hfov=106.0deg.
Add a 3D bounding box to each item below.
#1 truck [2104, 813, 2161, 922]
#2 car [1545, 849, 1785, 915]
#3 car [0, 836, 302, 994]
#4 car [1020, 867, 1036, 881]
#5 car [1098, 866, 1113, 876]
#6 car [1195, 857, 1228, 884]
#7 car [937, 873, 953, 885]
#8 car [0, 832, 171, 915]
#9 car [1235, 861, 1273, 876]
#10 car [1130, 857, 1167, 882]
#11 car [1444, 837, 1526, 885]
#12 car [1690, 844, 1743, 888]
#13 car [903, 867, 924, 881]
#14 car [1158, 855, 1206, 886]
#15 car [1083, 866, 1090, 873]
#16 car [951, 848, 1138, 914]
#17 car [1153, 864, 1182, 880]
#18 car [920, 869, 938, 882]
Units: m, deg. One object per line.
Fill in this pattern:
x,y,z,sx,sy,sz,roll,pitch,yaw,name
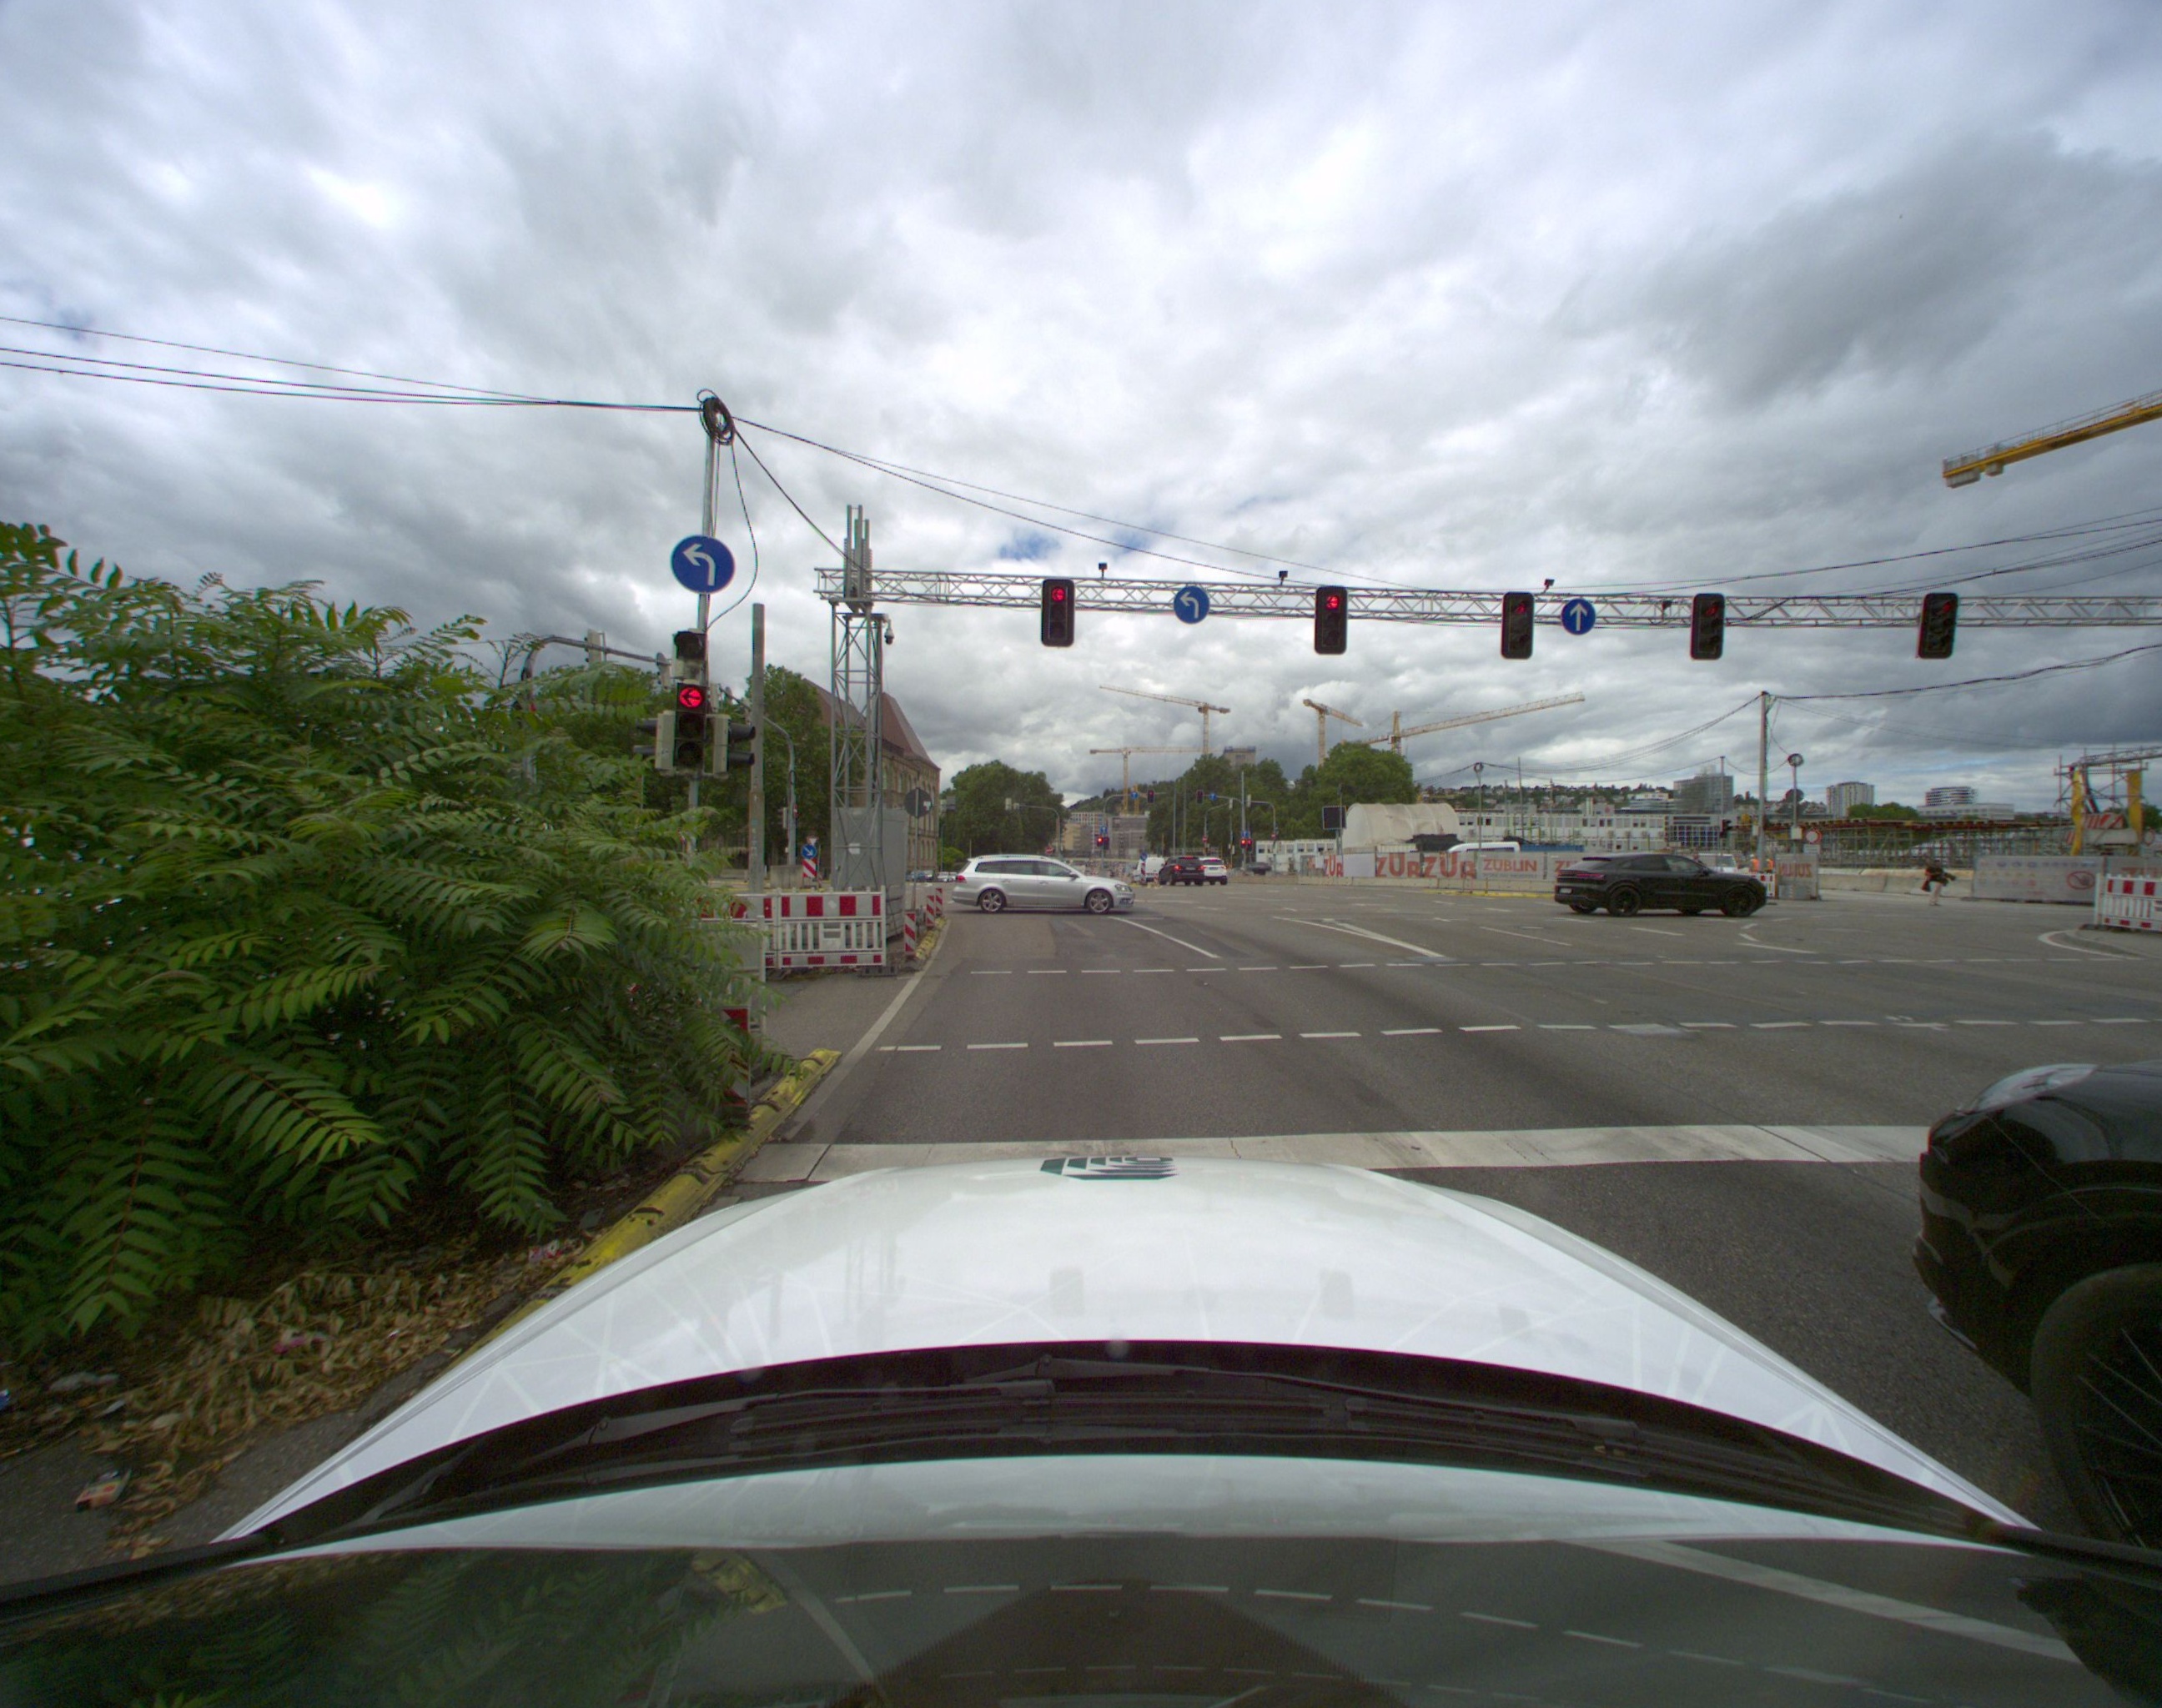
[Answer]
32.496,0.349,20.881,8.945,2.803,2.628,0,0,2,truck
15.077,0.703,21.260,4.787,1.625,2.022,0,-1,3,car
-11.786,0.615,10.313,1.911,1.625,4.067,-1,0,-31,car
-5.586,2.058,85.309,1.673,1.398,3.677,0,-1,-4,car
3.398,2.387,114.852,1.673,1.398,3.677,0,-1,-5,car
8.476,1.050,52.996,1.670,1.702,3.375,0,-1,2,car
-16.993,3.120,101.993,1.673,1.398,3.677,0,-1,-4,car
-25.027,0.452,19.389,4.264,1.882,1.825,0,-1,-8,car
18.623,1.545,87.666,3.960,1.552,1.788,0,0,12,car
4.564,1.012,55.574,1.814,1.625,3.992,0,-1,-5,car
23.227,0.418,46.969,3.957,2.662,1.688,-1,-1,15,car
30.129,0.558,38.696,1.755,1.954,3.146,-1,-1,34,car
-17.908,2.161,87.084,1.673,1.398,3.677,0,-1,-4,car
5.956,0.935,48.490,1.830,1.746,4.244,0,-1,-8,car
1.690,4.964,259.294,1.987,2.013,3.999,0,0,-1,car
-0.923,0.679,21.315,4.697,1.625,1.680,0,-1,-2,car
8.017,1.672,75.955,1.680,1.398,3.069,0,-1,-16,car
-17.402,2.458,93.502,1.673,1.398,3.677,0,-1,-4,car
